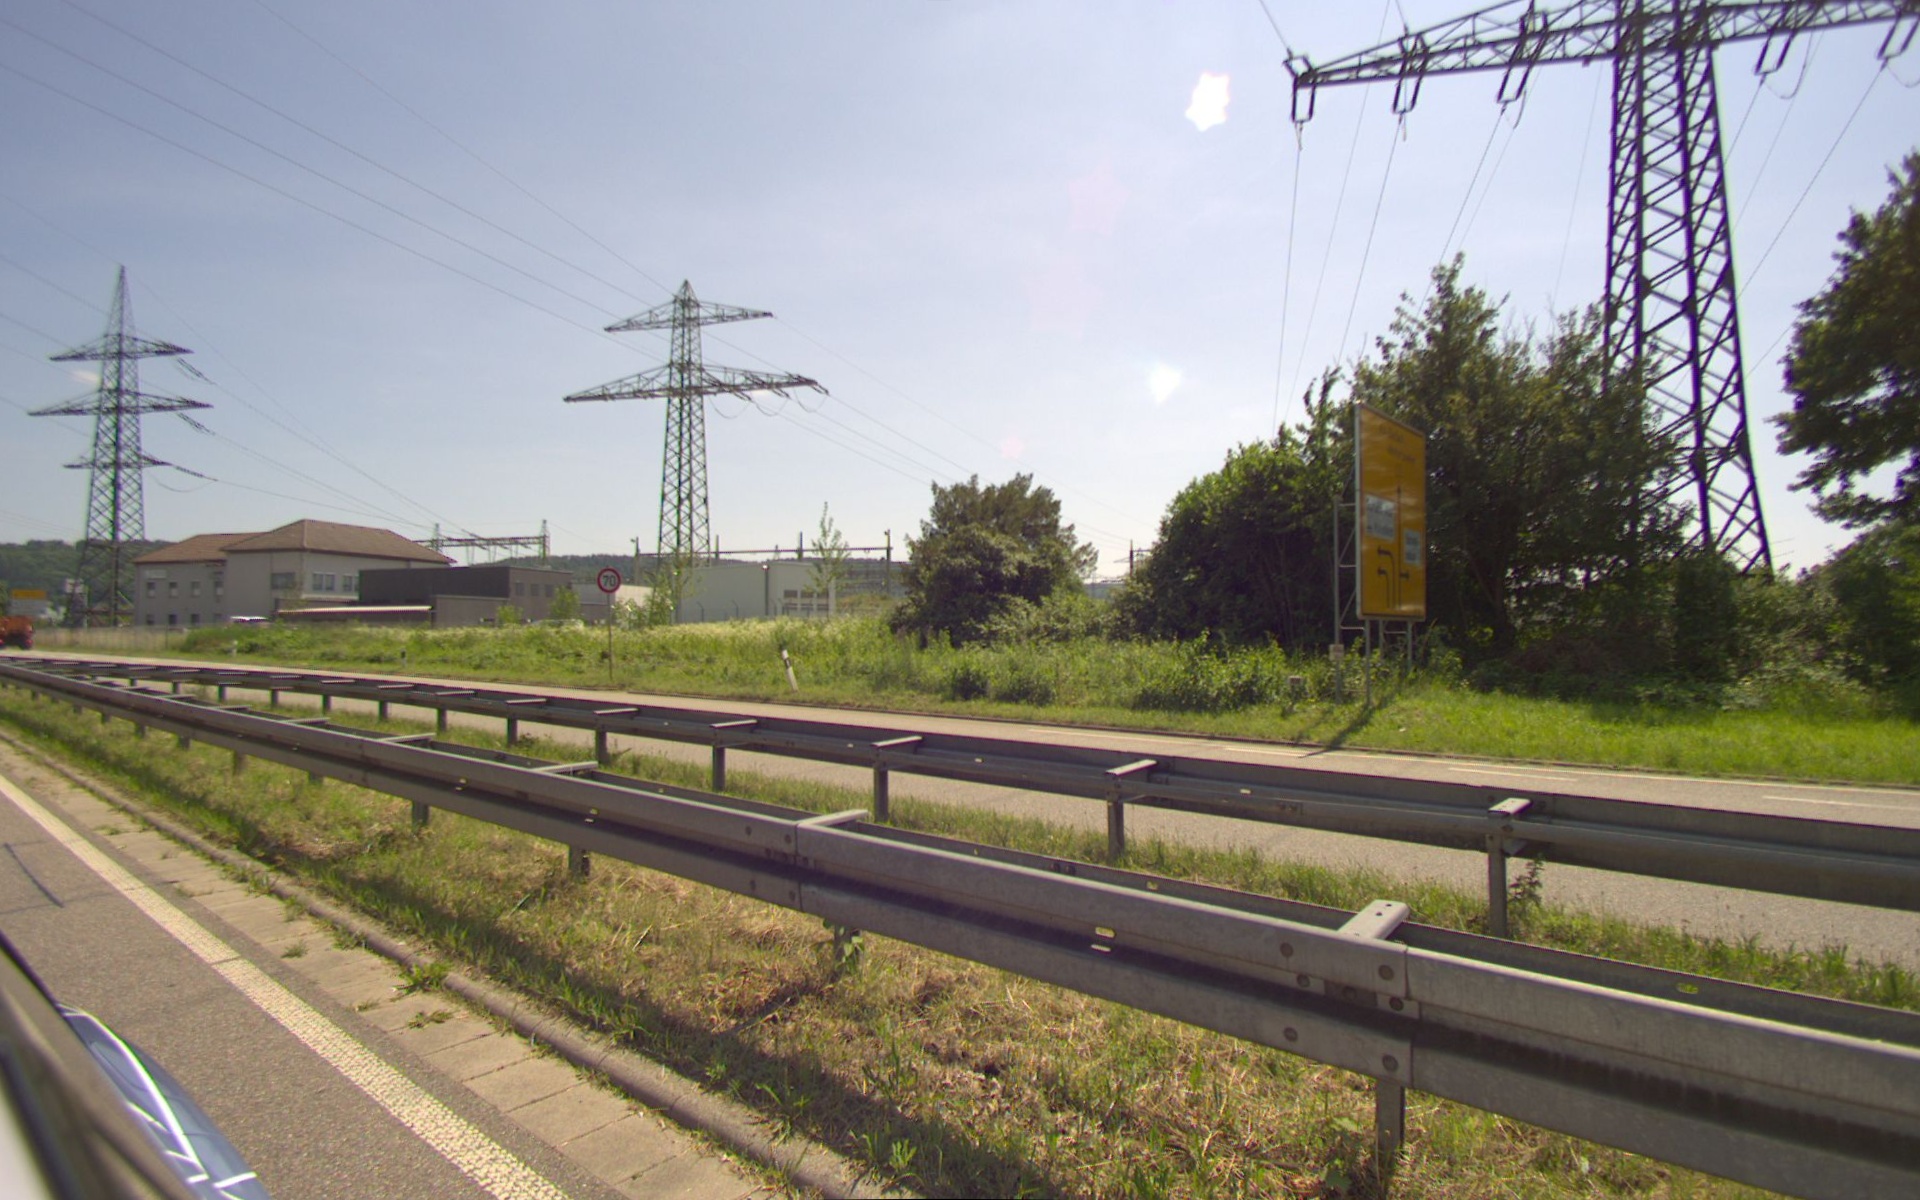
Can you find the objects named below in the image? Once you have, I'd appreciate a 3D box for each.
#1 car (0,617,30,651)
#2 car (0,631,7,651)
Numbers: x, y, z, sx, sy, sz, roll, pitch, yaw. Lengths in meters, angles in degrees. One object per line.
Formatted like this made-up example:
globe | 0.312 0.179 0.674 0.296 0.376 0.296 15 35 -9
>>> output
car | -87.287 3.105 92.555 5.634 3.084 2.574 -2 -3 40
car | -95.241 3.997 99.233 3.993 1.929 1.975 0 0 37
